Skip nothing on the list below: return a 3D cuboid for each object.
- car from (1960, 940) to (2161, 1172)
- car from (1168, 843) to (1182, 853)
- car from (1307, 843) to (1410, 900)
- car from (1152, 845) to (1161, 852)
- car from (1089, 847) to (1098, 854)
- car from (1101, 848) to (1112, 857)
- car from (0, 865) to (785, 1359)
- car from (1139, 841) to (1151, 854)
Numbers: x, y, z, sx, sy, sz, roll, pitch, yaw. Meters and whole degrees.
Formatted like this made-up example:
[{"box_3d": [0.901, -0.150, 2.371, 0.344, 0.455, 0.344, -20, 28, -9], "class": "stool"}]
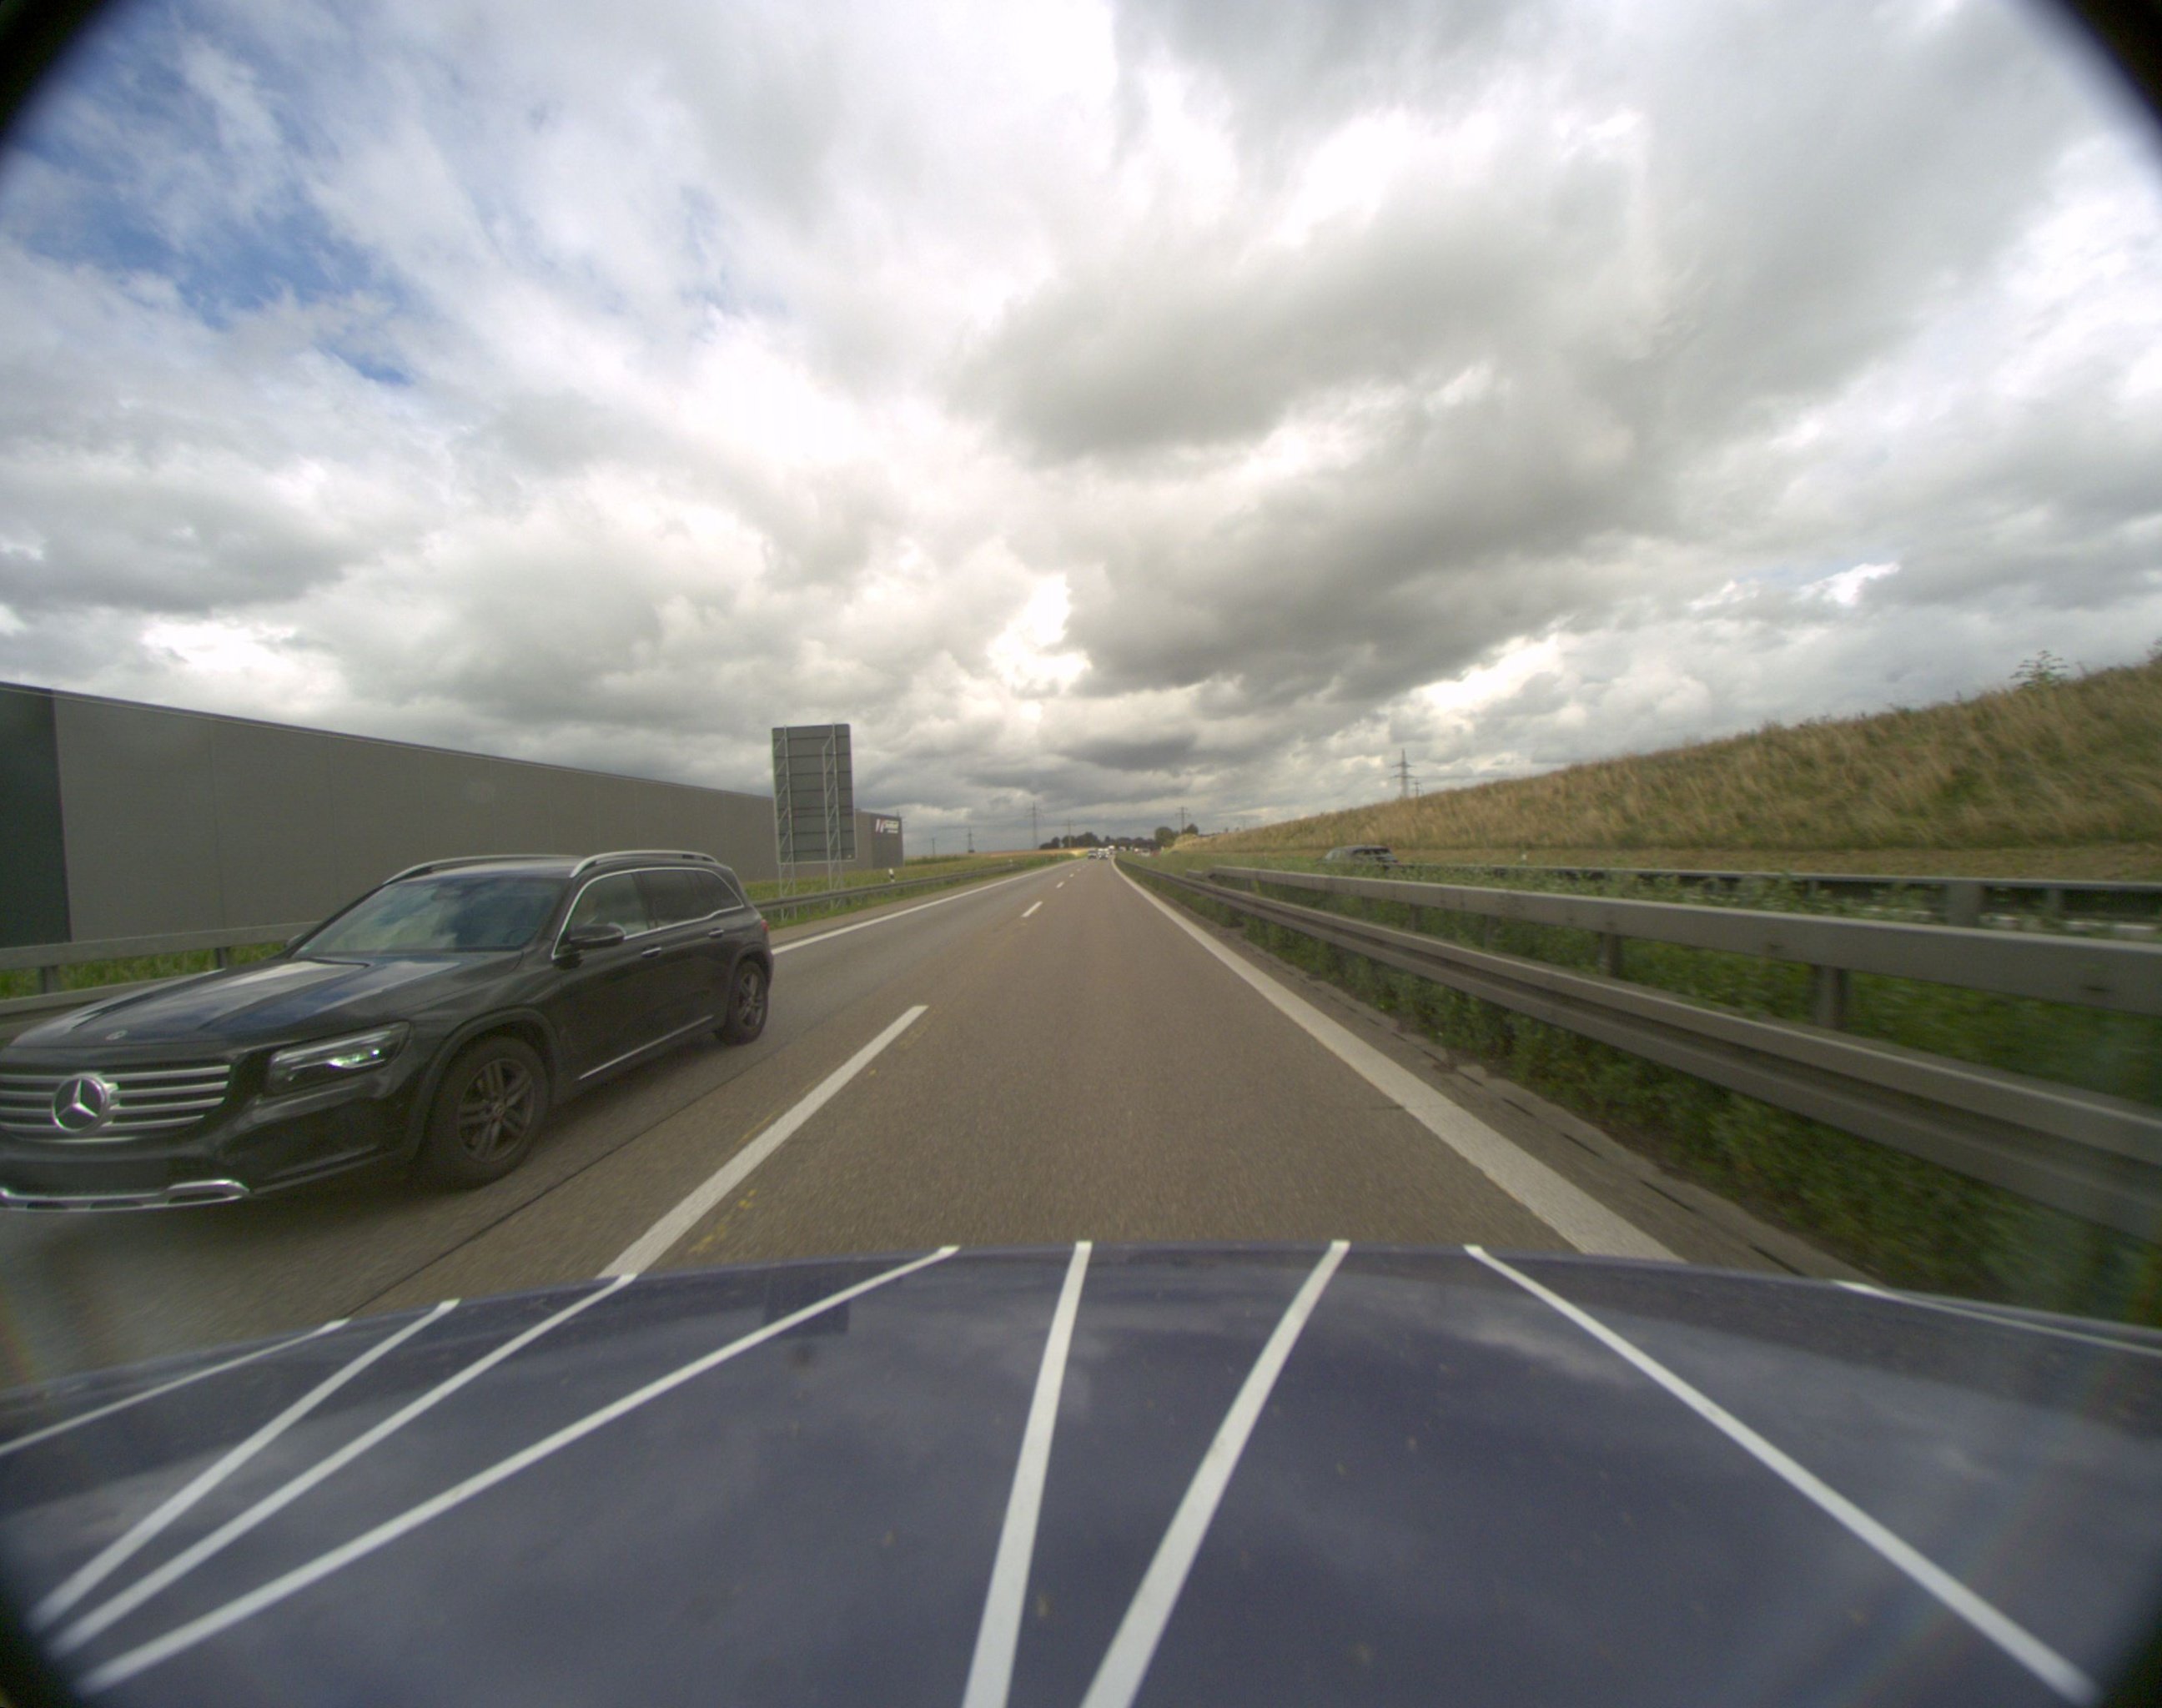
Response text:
[{"box_3d": [10.512, 1.918, 6.343, 1.741, 1.805, 3.999, -3, 1, 1], "class": "car"}, {"box_3d": [14.813, -0.996, 119.594, 1.776, 1.445, 4.000, -3, 1, 2], "class": "car"}, {"box_3d": [8.544, 0.473, 23.778, 1.741, 1.581, 3.999, -3, 1, 1], "class": "car"}, {"box_3d": [18.204, -1.350, 183.283, 1.728, 1.395, 4.342, -3, 1, 2], "class": "car"}, {"box_3d": [3.185, -0.865, 188.332, 1.998, 1.812, 4.343, -2, 1, 4], "class": "car"}, {"box_3d": [5.500, -0.320, 163.442, 1.998, 1.695, 4.663, -4, -1, 3], "class": "car"}, {"box_3d": [-3.775, 0.973, 4.881, 1.838, 1.600, 4.360, -2, 1, 2], "class": "car"}, {"box_3d": [12.417, -1.300, 147.906, 1.998, 2.334, 5.870, -3, 1, 1], "class": "car"}]
